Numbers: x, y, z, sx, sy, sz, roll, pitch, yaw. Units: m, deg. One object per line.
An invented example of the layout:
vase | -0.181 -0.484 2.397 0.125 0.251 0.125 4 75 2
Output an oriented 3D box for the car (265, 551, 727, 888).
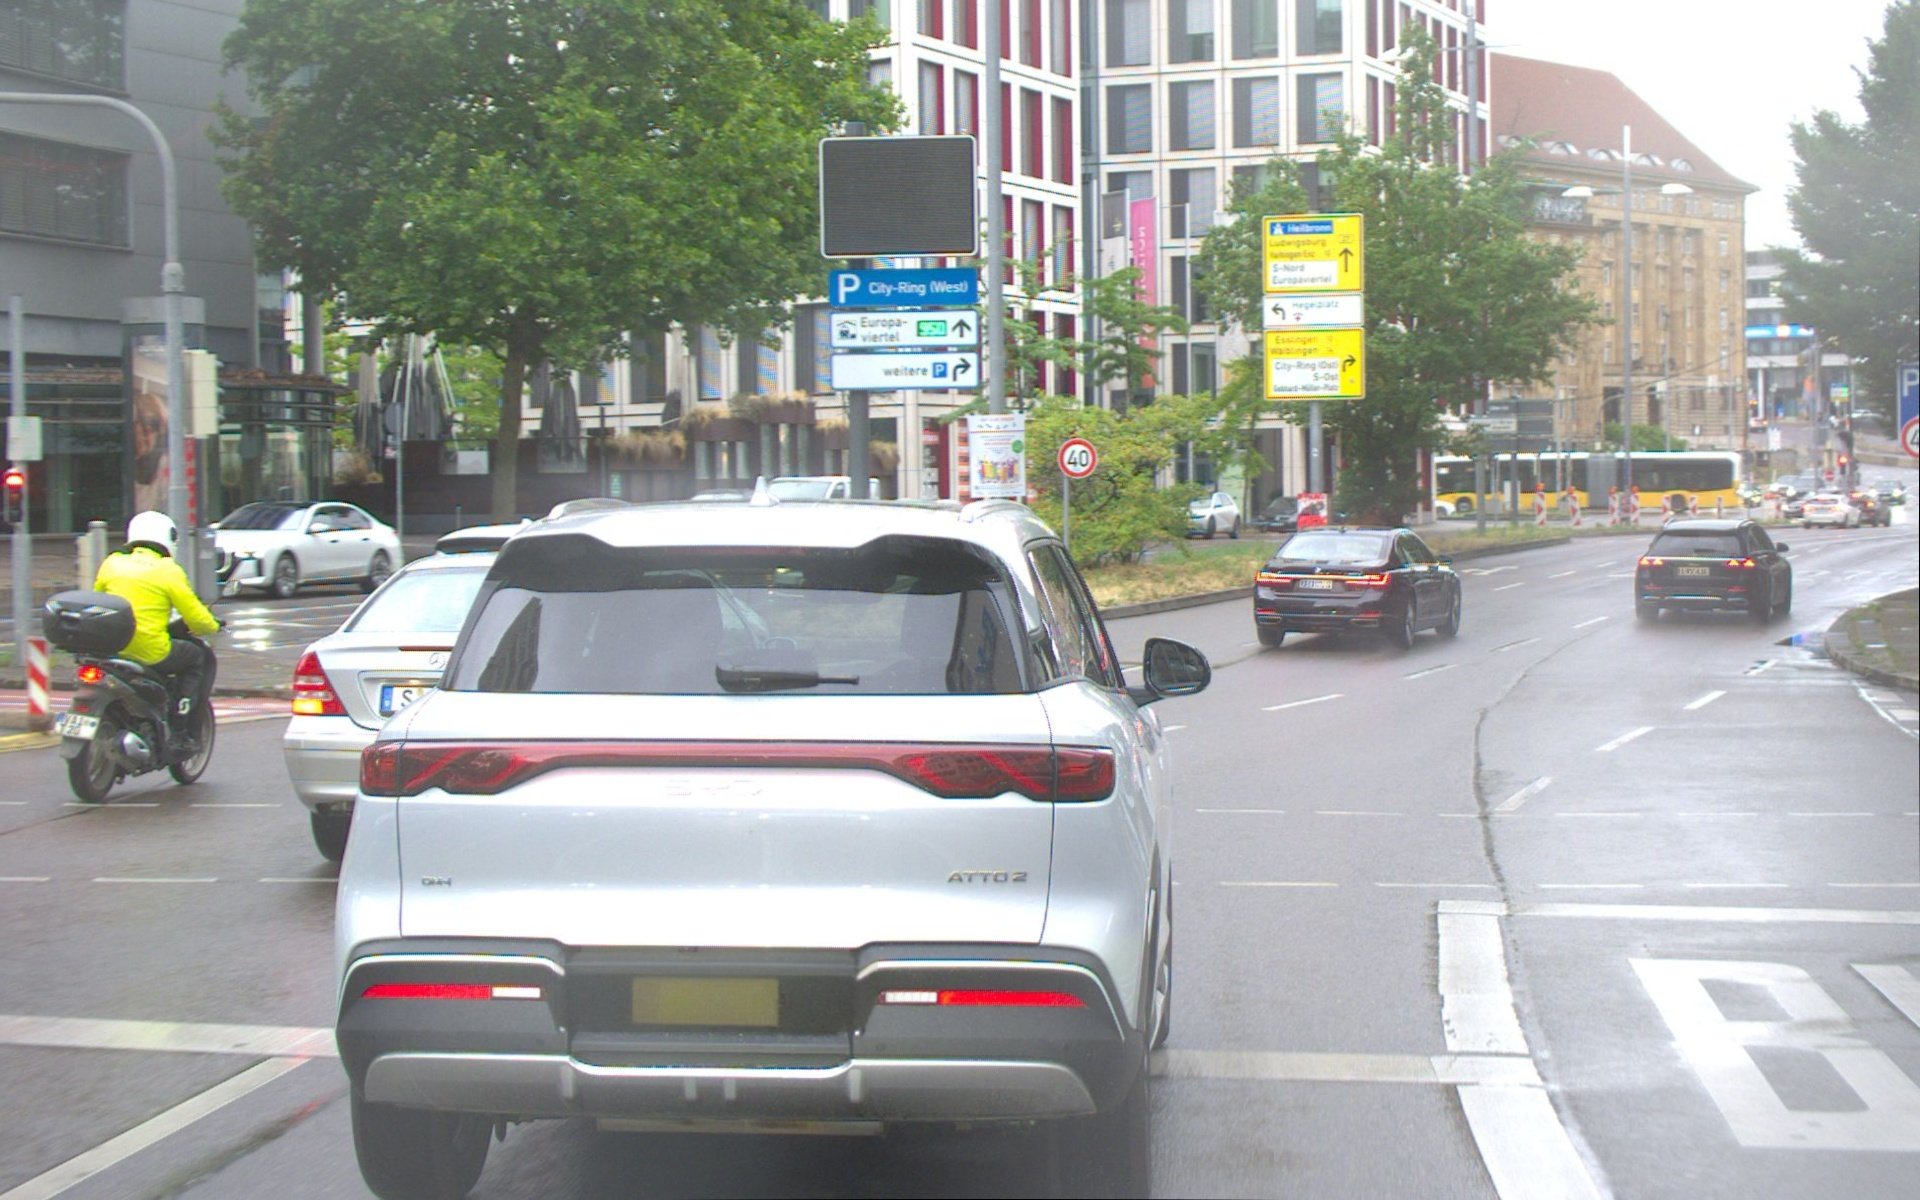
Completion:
car | -2.105 0.493 16.601 1.571 1.402 4.109 1 0 1

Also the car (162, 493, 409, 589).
car | -11.108 -1.016 57.004 1.815 1.505 5.192 0 2 16

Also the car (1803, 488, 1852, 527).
car | 37.288 -3.978 147.714 1.889 1.637 3.997 1 1 16

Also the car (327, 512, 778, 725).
car | -3.004 0.120 26.219 1.709 1.481 3.995 1 0 22

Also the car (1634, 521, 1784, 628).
car | 10.968 -0.359 50.174 1.695 1.481 3.996 1 0 19

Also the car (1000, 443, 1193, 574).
car | 2.287 -1.452 56.110 1.995 2.007 4.845 1 0 16

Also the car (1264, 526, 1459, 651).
car | 5.105 -0.140 43.301 1.572 1.481 3.996 1 0 20

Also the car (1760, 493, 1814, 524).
car | 40.224 -4.438 167.181 1.996 1.481 3.996 1 2 21

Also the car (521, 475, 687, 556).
car | -7.061 -1.697 68.664 1.633 1.553 4.589 0 2 17

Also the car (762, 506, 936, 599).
car | -1.752 -0.789 55.573 1.633 1.432 3.905 0 2 17

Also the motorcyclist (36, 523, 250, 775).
motorcyclist | -4.622 0.265 19.505 0.770 1.375 1.118 1 0 11

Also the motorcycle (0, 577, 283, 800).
motorcycle | -4.619 0.471 19.498 0.800 1.180 2.027 1 0 11

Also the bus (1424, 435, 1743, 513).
bus | 34.547 -6.969 190.646 16.977 4.049 4.434 1 0 17

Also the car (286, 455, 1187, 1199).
car | -0.332 0.543 8.966 1.776 1.673 3.999 1 0 4
